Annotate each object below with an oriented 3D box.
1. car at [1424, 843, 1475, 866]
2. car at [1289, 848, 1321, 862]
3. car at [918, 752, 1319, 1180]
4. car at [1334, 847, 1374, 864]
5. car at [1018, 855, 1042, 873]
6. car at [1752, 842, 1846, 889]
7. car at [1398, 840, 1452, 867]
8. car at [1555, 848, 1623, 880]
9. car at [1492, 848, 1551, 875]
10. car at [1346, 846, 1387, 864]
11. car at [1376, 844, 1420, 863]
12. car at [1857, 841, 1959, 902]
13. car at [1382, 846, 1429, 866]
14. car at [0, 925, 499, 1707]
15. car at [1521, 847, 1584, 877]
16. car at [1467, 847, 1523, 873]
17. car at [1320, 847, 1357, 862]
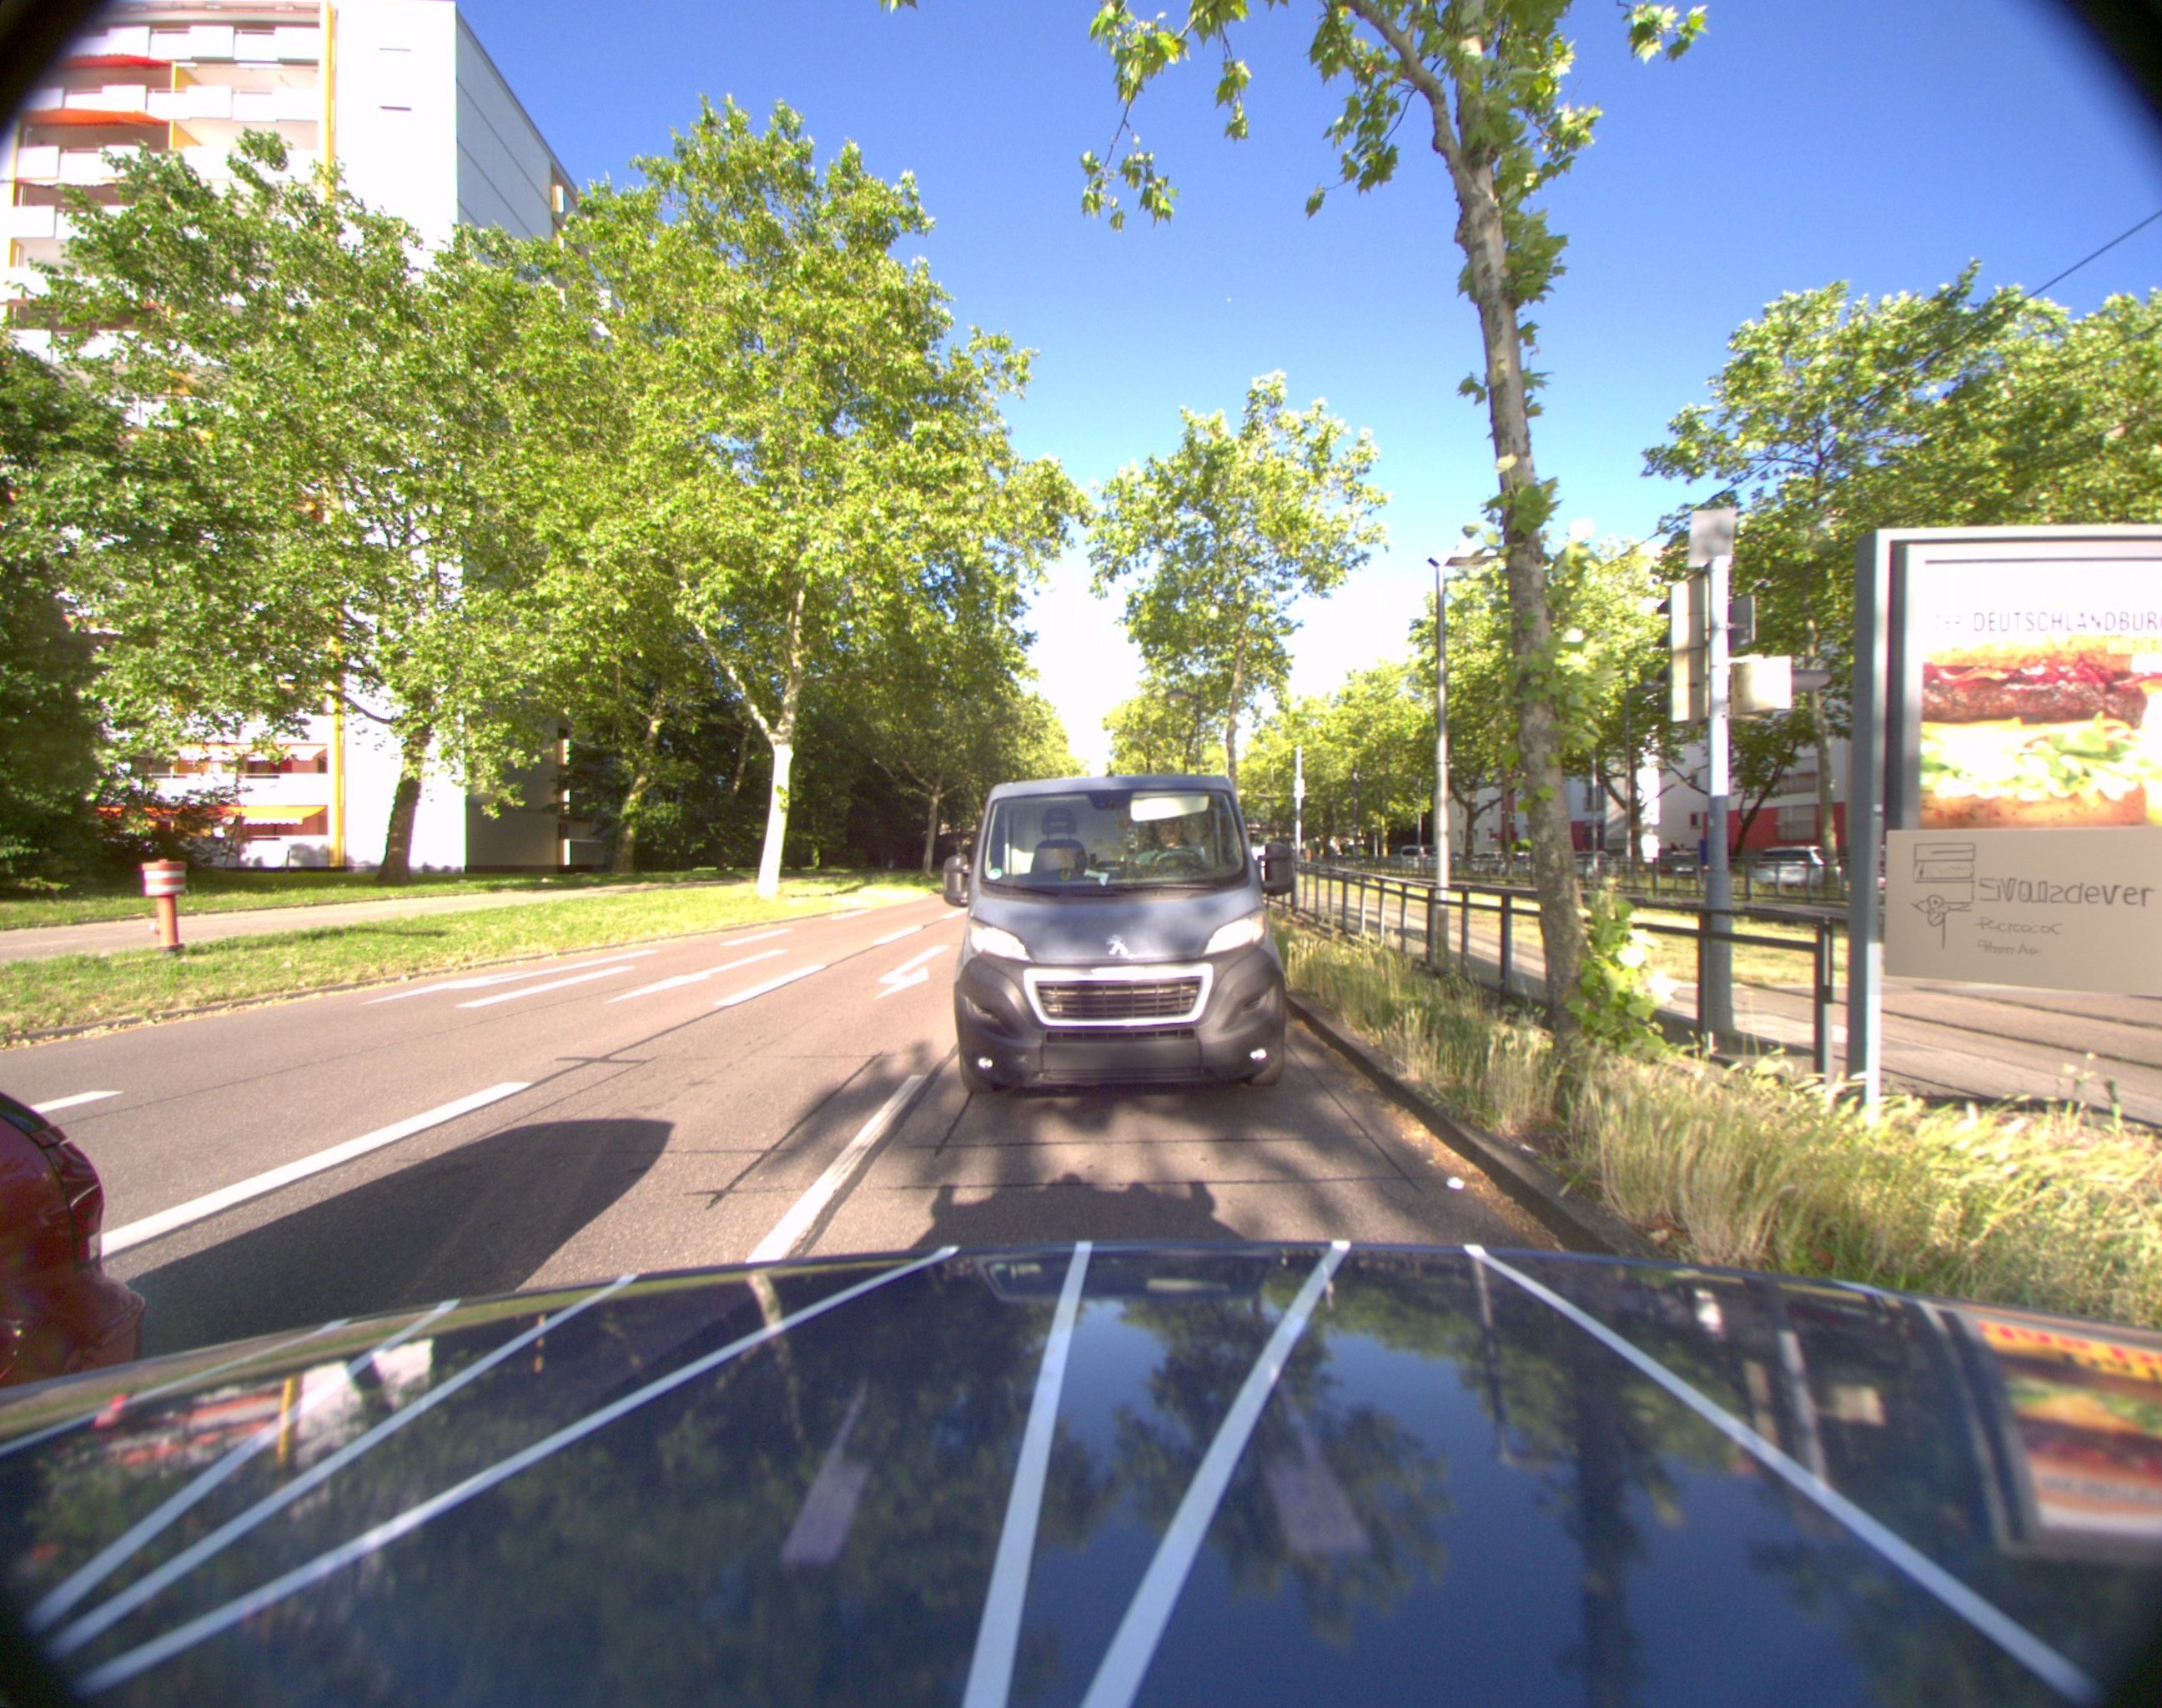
[{"bbox_3d":[26.288,0.035,54.154,4.057,1.490,1.791,-1,0,-41],"label":"car"},{"bbox_3d":[26.570,0.104,90.090,4.057,1.490,1.791,-1,0,-41],"label":"car"},{"bbox_3d":[0.232,0.569,6.762,2.040,2.191,5.661,-1,0,1],"label":"car"},{"bbox_3d":[26.156,0.105,72.702,4.057,1.490,1.791,-1,0,-41],"label":"car"},{"bbox_3d":[-4.565,0.868,67.939,1.914,1.549,4.724,-1,0,-6],"label":"car"},{"bbox_3d":[25.242,0.366,26.679,4.057,1.490,1.791,-1,0,-38],"label":"car"},{"bbox_3d":[25.866,-0.056,57.036,4.441,1.908,2.016,-1,0,-41],"label":"car"},{"bbox_3d":[25.393,0.482,37.917,4.057,1.490,1.791,-1,0,-41],"label":"car"},{"bbox_3d":[26.075,0.426,44.928,4.057,1.490,1.791,-1,0,-41],"label":"car"},{"bbox_3d":[26.074,0.108,69.325,4.057,1.490,1.791,-1,0,-41],"label":"car"},{"bbox_3d":[26.583,-0.078,63.675,4.057,1.490,1.791,-1,0,-41],"label":"car"},{"bbox_3d":[25.267,0.489,23.175,4.057,1.654,1.791,-1,0,-38],"label":"car"},{"bbox_3d":[25.806,0.152,60.387,4.057,1.490,1.791,-1,0,-41],"label":"car"},{"bbox_3d":[-2.985,1.027,0.273,1.771,1.549,4.727,-1,0,2],"label":"car"},{"bbox_3d":[25.926,0.439,41.731,4.057,1.490,1.791,-1,0,-41],"label":"car"},{"bbox_3d":[25.994,0.355,47.679,4.057,1.490,1.791,-1,0,-41],"label":"car"},{"bbox_3d":[26.928,0.074,79.361,4.057,1.490,1.791,-1,0,-41],"label":"car"}]
